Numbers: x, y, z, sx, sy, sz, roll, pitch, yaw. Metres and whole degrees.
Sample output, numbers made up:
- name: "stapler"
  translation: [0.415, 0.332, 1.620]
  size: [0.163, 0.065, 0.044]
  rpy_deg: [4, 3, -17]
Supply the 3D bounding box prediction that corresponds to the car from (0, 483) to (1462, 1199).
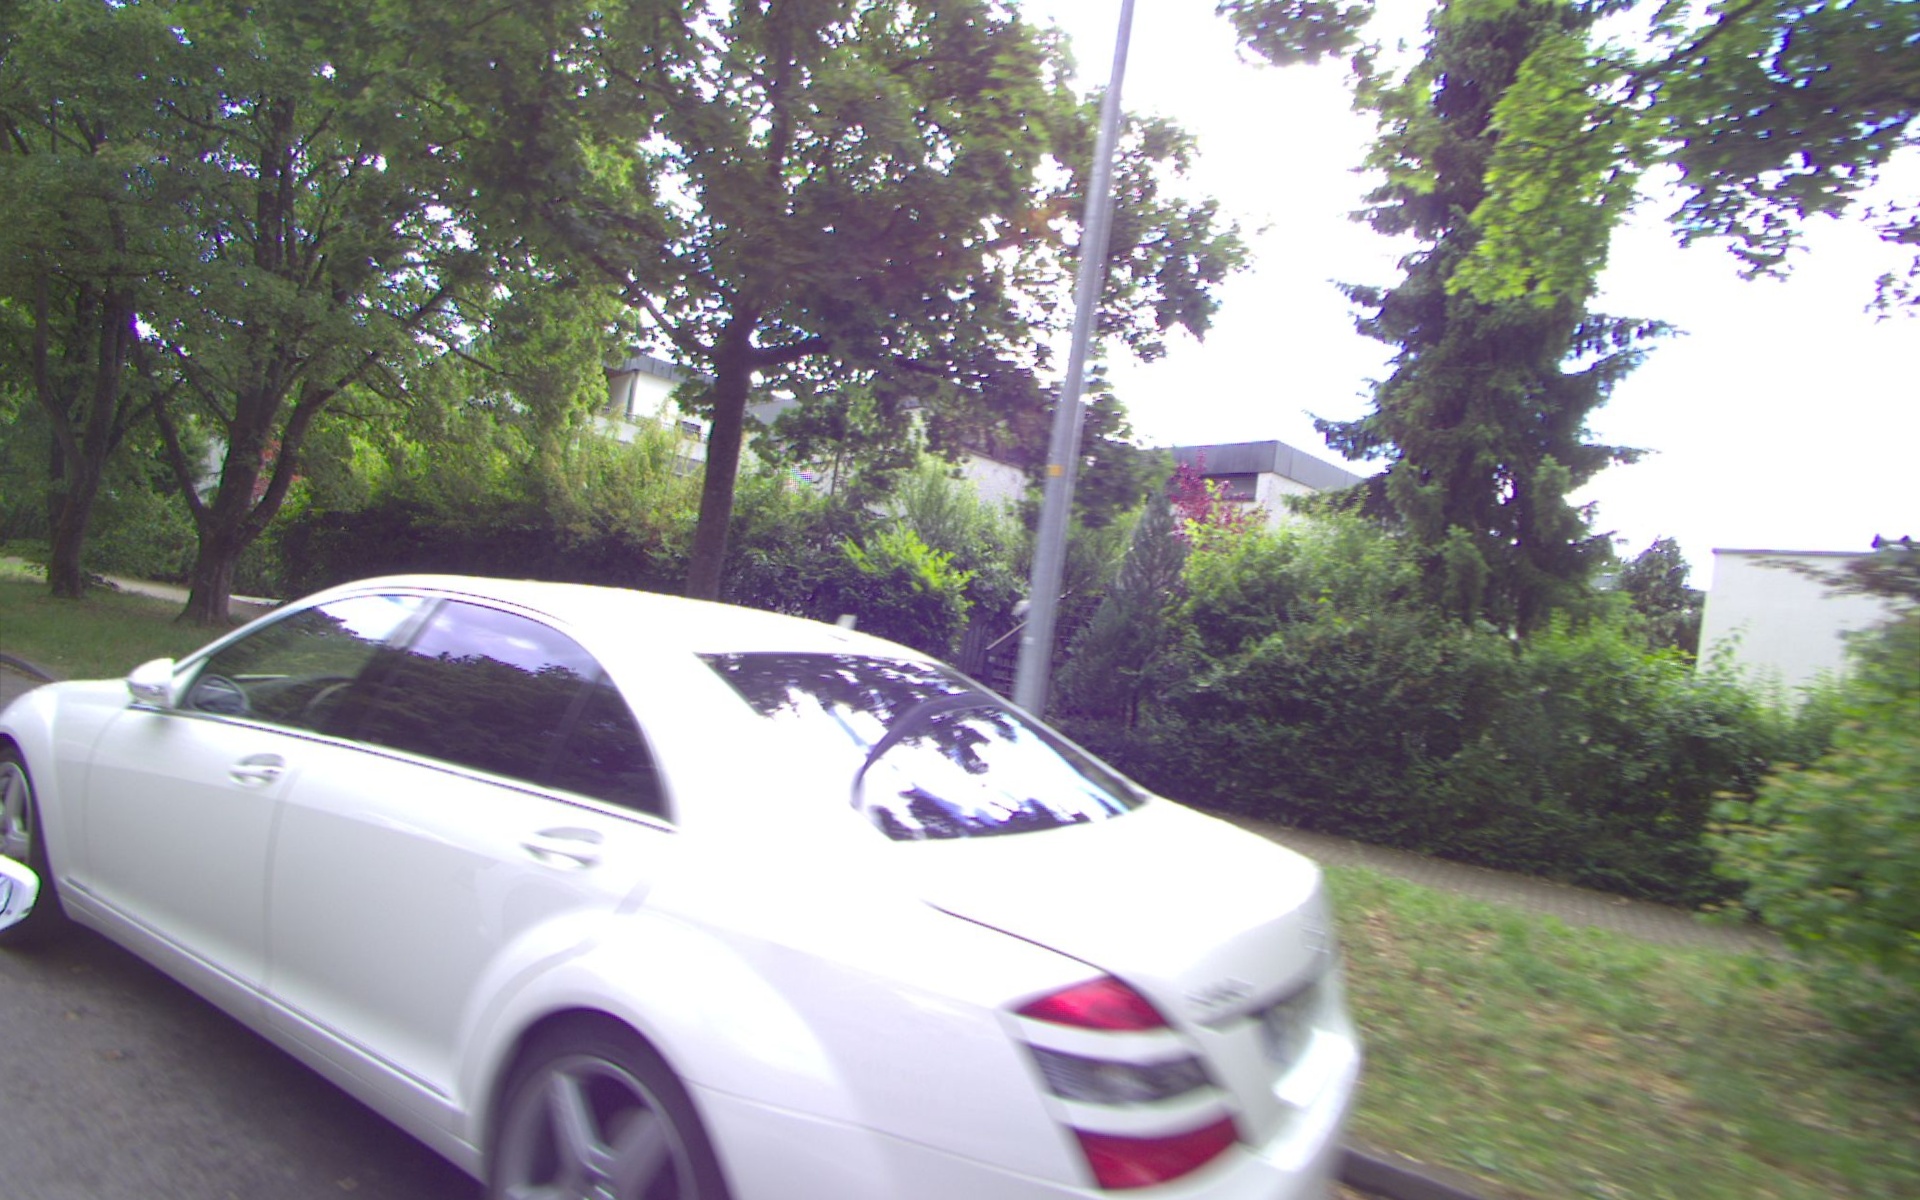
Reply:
- name: "car"
  translation: [-1.307, 0.645, 3.337]
  size: [5.089, 1.524, 1.890]
  rpy_deg: [7, -2, 31]
